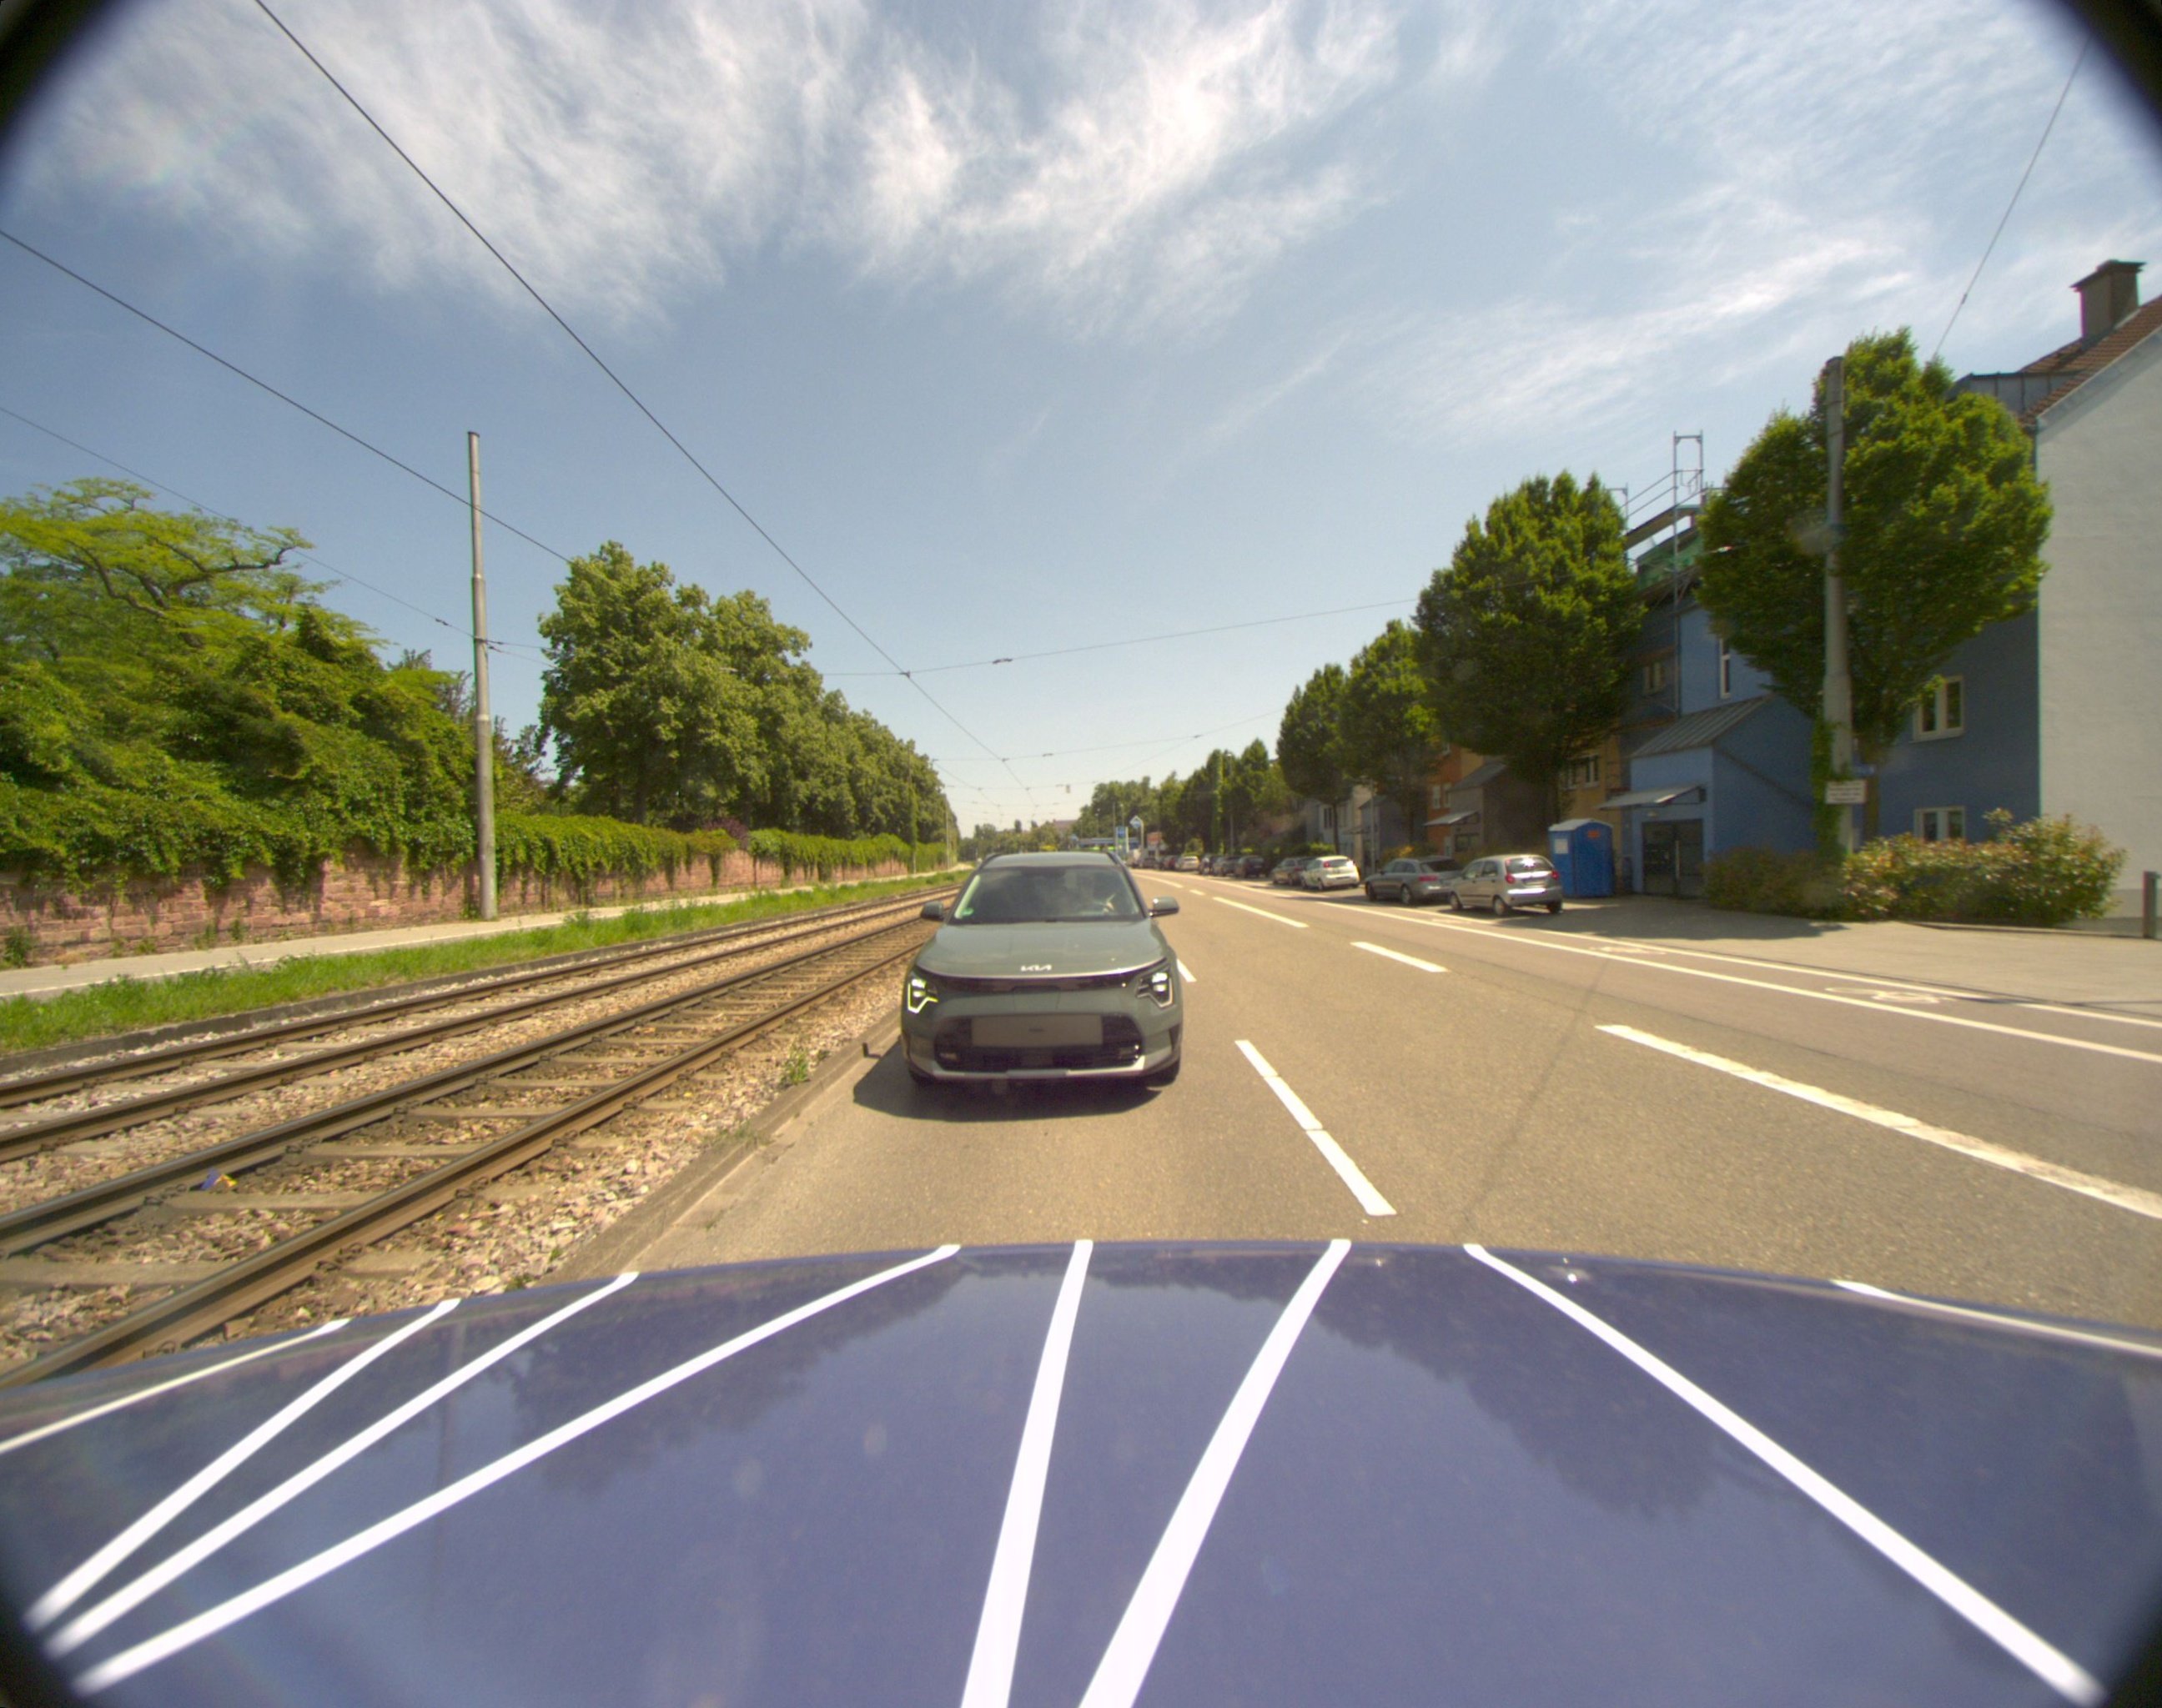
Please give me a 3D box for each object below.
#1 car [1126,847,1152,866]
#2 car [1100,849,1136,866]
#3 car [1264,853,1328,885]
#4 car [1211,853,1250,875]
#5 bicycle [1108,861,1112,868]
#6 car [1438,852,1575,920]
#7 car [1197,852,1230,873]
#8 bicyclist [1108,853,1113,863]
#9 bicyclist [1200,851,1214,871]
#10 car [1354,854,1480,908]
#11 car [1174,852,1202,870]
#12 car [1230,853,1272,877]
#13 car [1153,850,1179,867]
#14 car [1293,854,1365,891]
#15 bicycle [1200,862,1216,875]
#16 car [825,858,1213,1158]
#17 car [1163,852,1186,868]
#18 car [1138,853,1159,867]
[{"bbox_3d":[7.644,0.361,100.149,2.285,2.294,5.226,-3,0,-8],"label":"car"},{"bbox_3d":[5.912,0.548,121.417,5.219,2.294,2.288,-3,0,16],"label":"car"},{"bbox_3d":[11.373,0.768,40.545,1.708,1.421,4.750,-6,0,-3],"label":"car"},{"bbox_3d":[11.180,0.705,56.975,1.830,1.487,4.756,-3,0,-1],"label":"car"},{"bbox_3d":[4.324,1.570,113.702,0.641,1.089,1.638,1,1,1],"label":"bicycle"},{"bbox_3d":[11.037,0.775,19.991,1.597,1.487,3.448,-6,0,1],"label":"car"},{"bbox_3d":[10.920,0.674,62.795,1.772,1.579,4.147,-3,0,-3],"label":"car"},{"bbox_3d":[4.351,0.539,113.694,0.737,1.496,0.737,0,1,1],"label":"bicyclist"},{"bbox_3d":[9.024,0.495,54.347,0.737,1.422,1.124,2,0,-2],"label":"bicyclist"},{"bbox_3d":[10.971,0.833,25.315,1.791,1.441,5.133,-5,-1,0],"label":"car"},{"bbox_3d":[10.438,0.644,74.117,1.845,1.573,4.495,-3,0,-2],"label":"car"},{"bbox_3d":[11.510,0.701,51.685,1.754,1.424,4.257,-4,0,0],"label":"car"},{"bbox_3d":[9.498,0.503,85.216,1.999,1.783,4.556,-2,0,-5],"label":"car"},{"bbox_3d":[11.385,0.817,35.176,1.750,1.434,4.420,-6,0,0],"label":"car"},{"bbox_3d":[9.058,1.035,54.345,0.703,0.945,2.243,1,-1,-2],"label":"bicycle"},{"bbox_3d":[-0.244,0.873,6.183,2.062,1.534,4.001,-3,0,3],"label":"car"},{"bbox_3d":[9.829,0.676,80.009,1.604,1.584,3.680,-3,0,-6],"label":"car"},{"bbox_3d":[8.387,0.748,94.131,1.870,1.528,4.142,-3,0,-4],"label":"car"}]
